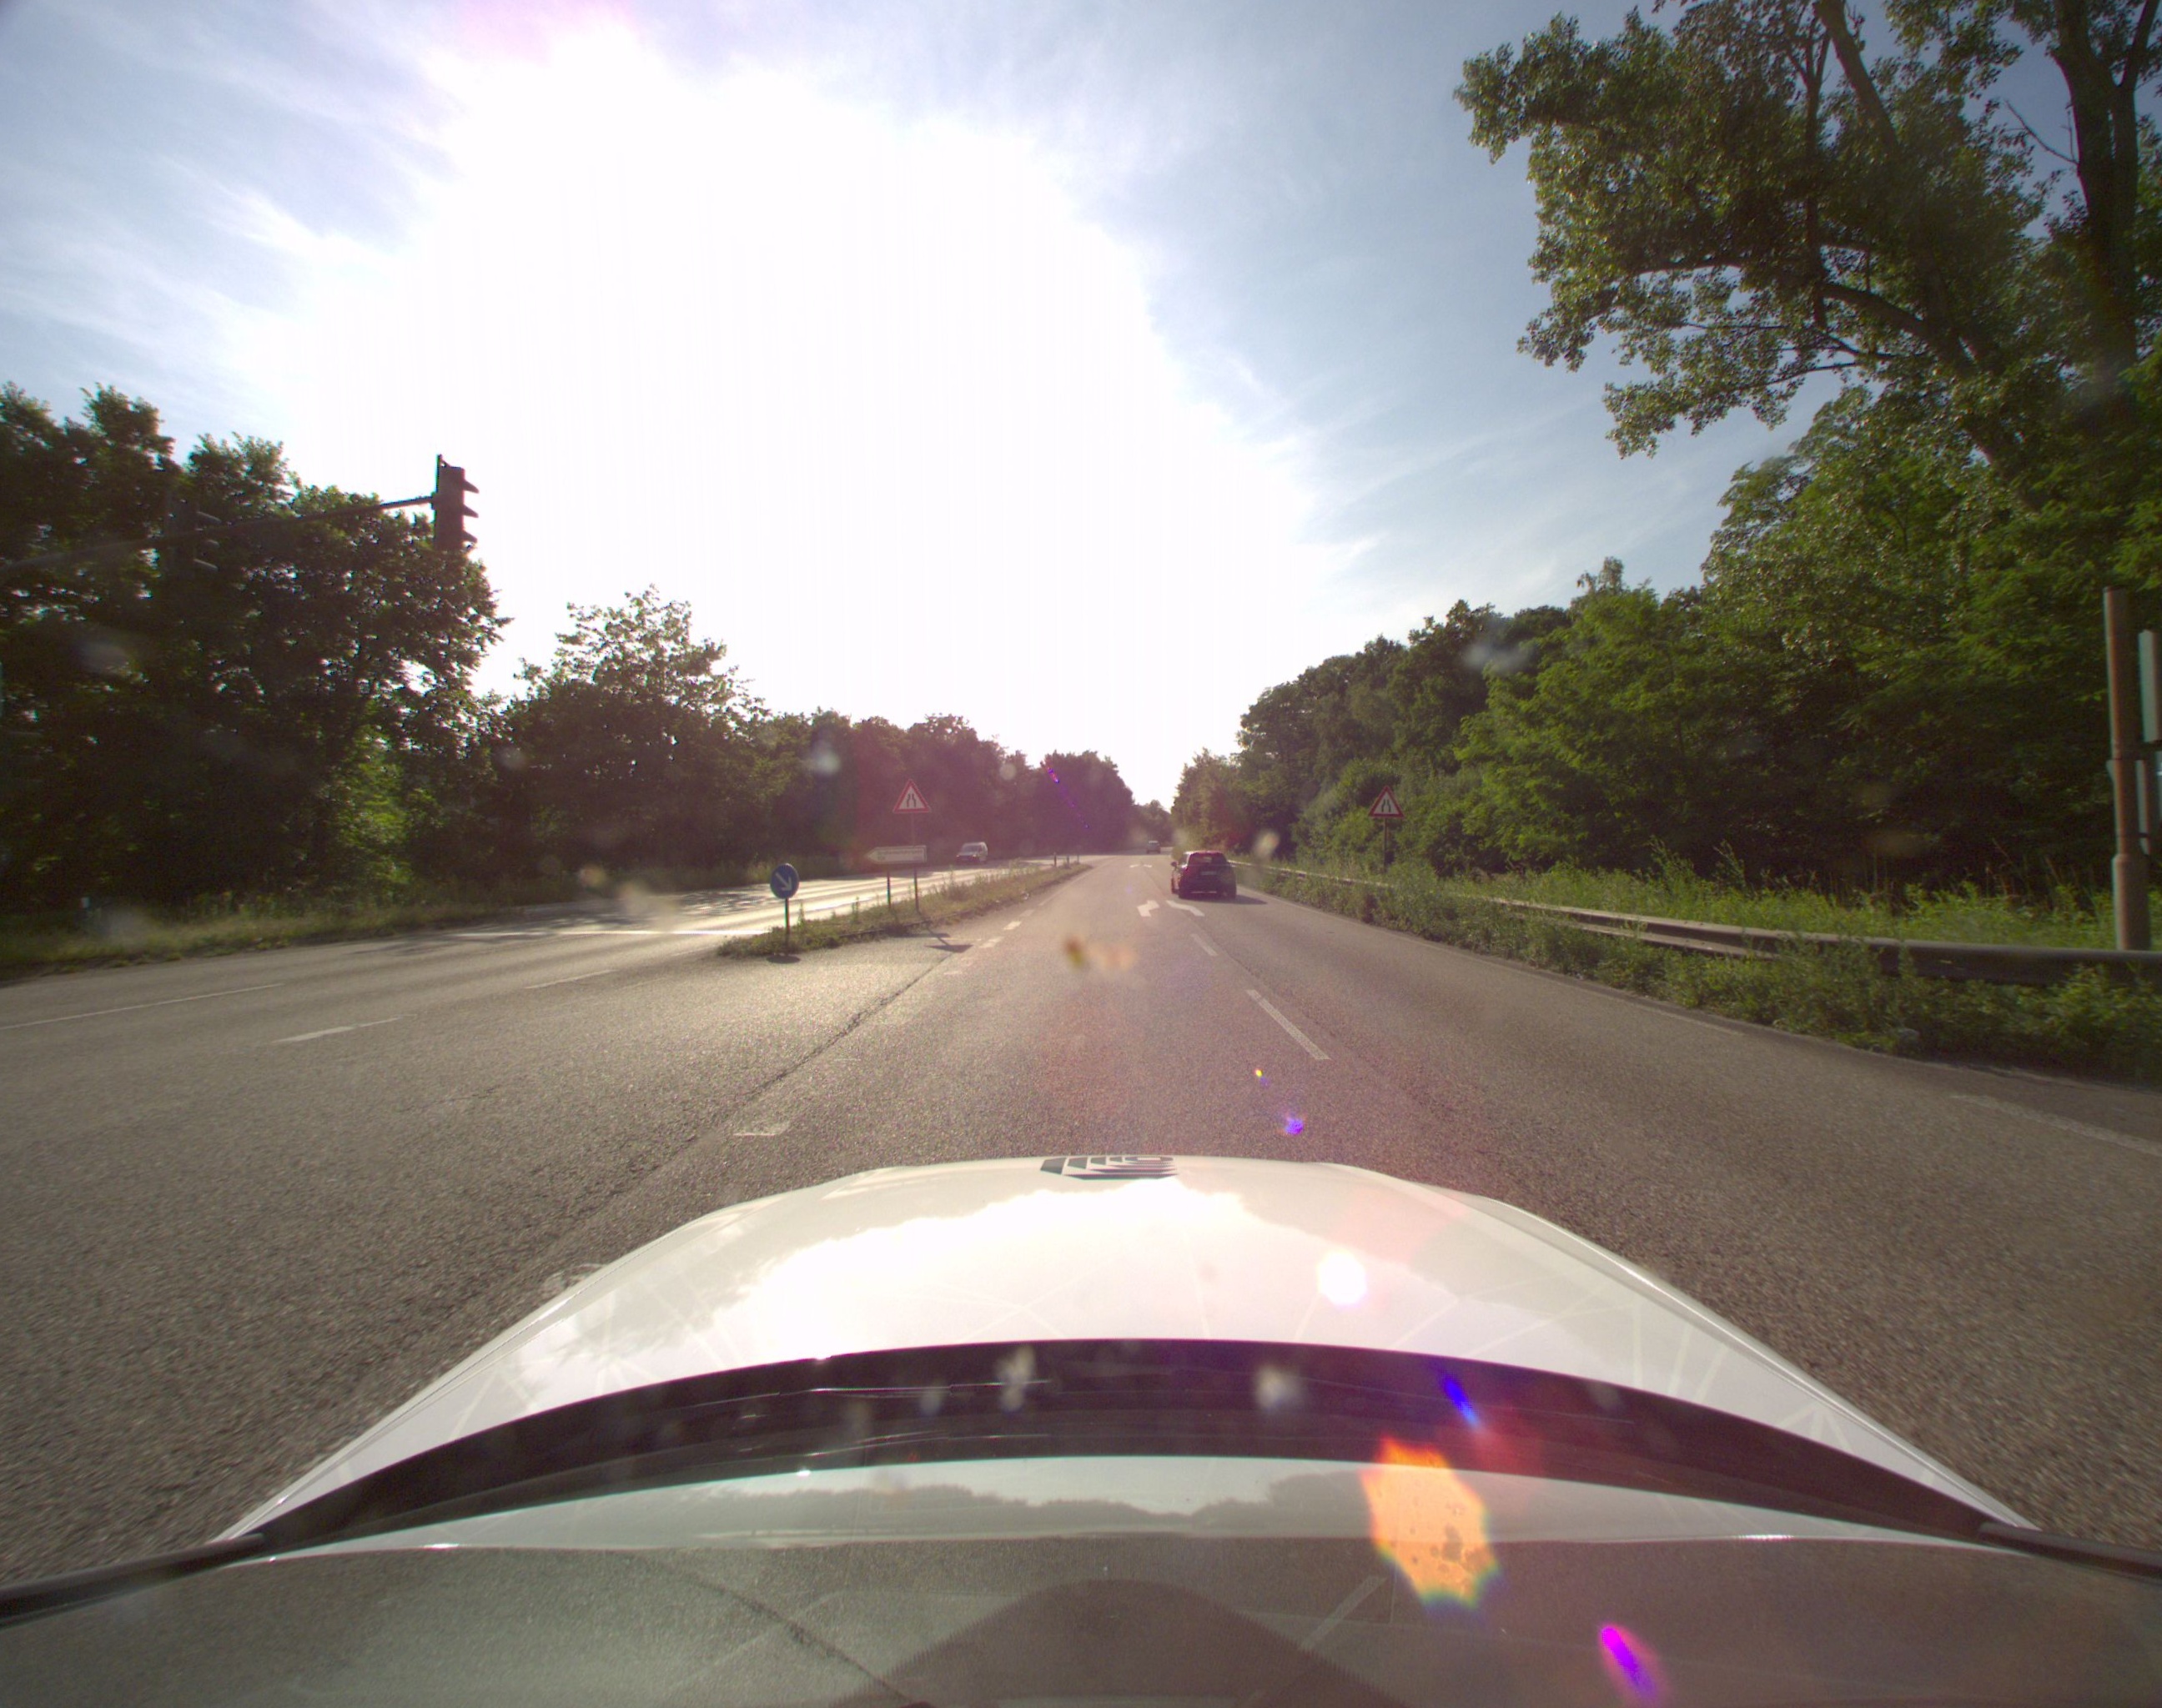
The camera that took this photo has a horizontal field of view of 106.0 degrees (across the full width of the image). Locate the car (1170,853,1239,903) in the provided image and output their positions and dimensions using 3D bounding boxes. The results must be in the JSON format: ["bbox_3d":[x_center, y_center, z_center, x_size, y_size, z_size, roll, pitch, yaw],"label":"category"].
[{"bbox_3d":[3.820,0.723,25.784,1.812,1.468,3.876,-1,-1,3],"label":"car"}]

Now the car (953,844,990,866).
[{"bbox_3d":[-8.921,0.102,66.683,1.840,1.786,4.680,0,-1,8],"label":"car"}]

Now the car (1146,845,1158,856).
[{"bbox_3d":[10.004,-0.494,114.657,1.753,1.380,3.977,-1,-1,5],"label":"car"}]
